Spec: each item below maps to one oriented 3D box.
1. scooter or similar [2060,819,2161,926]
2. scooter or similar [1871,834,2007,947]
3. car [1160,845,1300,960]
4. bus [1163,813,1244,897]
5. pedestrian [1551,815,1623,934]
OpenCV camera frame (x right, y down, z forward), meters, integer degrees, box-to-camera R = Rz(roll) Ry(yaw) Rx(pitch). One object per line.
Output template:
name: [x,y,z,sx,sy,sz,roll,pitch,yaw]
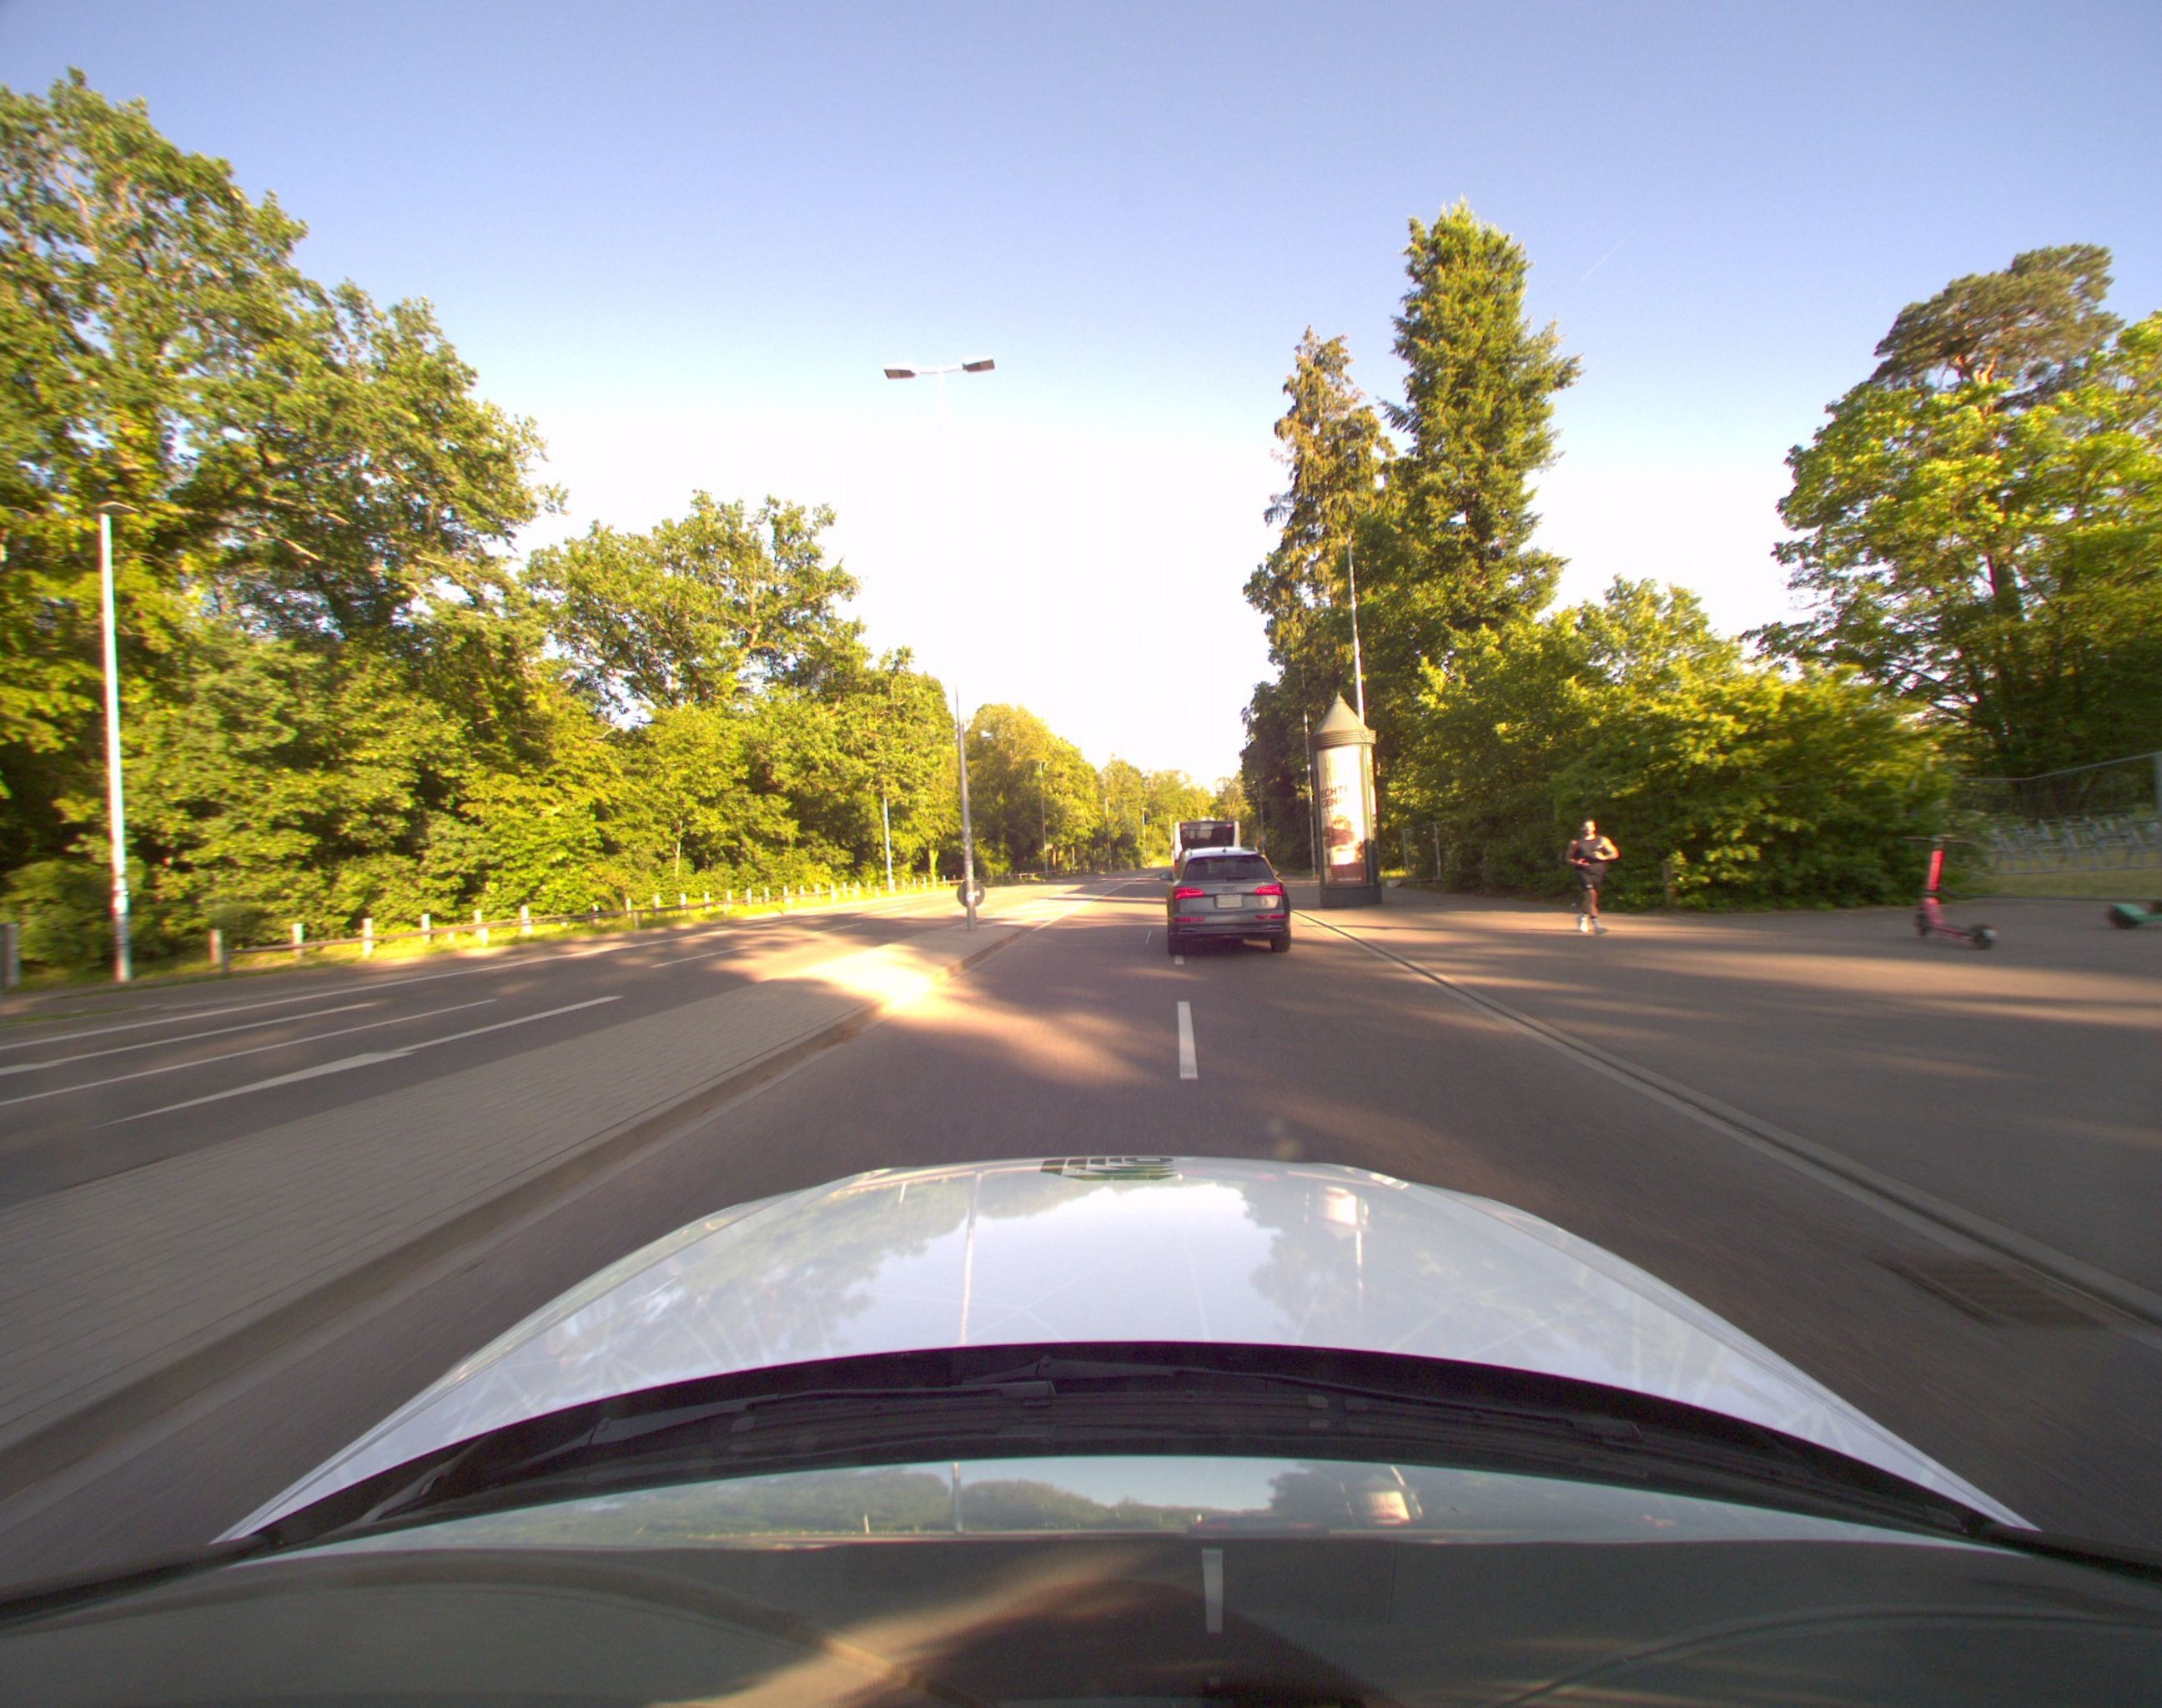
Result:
scooter or similar: [12.095,0.187,9.049,1.424,1.167,0.396,-5,-3,34]
scooter or similar: [9.653,0.375,9.218,0.279,1.171,1.414,-5,0,14]
car: [2.359,0.708,14.017,1.884,1.605,4.550,-2,0,4]
bus: [5.188,0.077,36.522,2.677,3.042,12.055,-2,-1,4]
pedestrian: [7.514,0.297,12.127,0.621,1.688,0.886,-2,-1,14]
